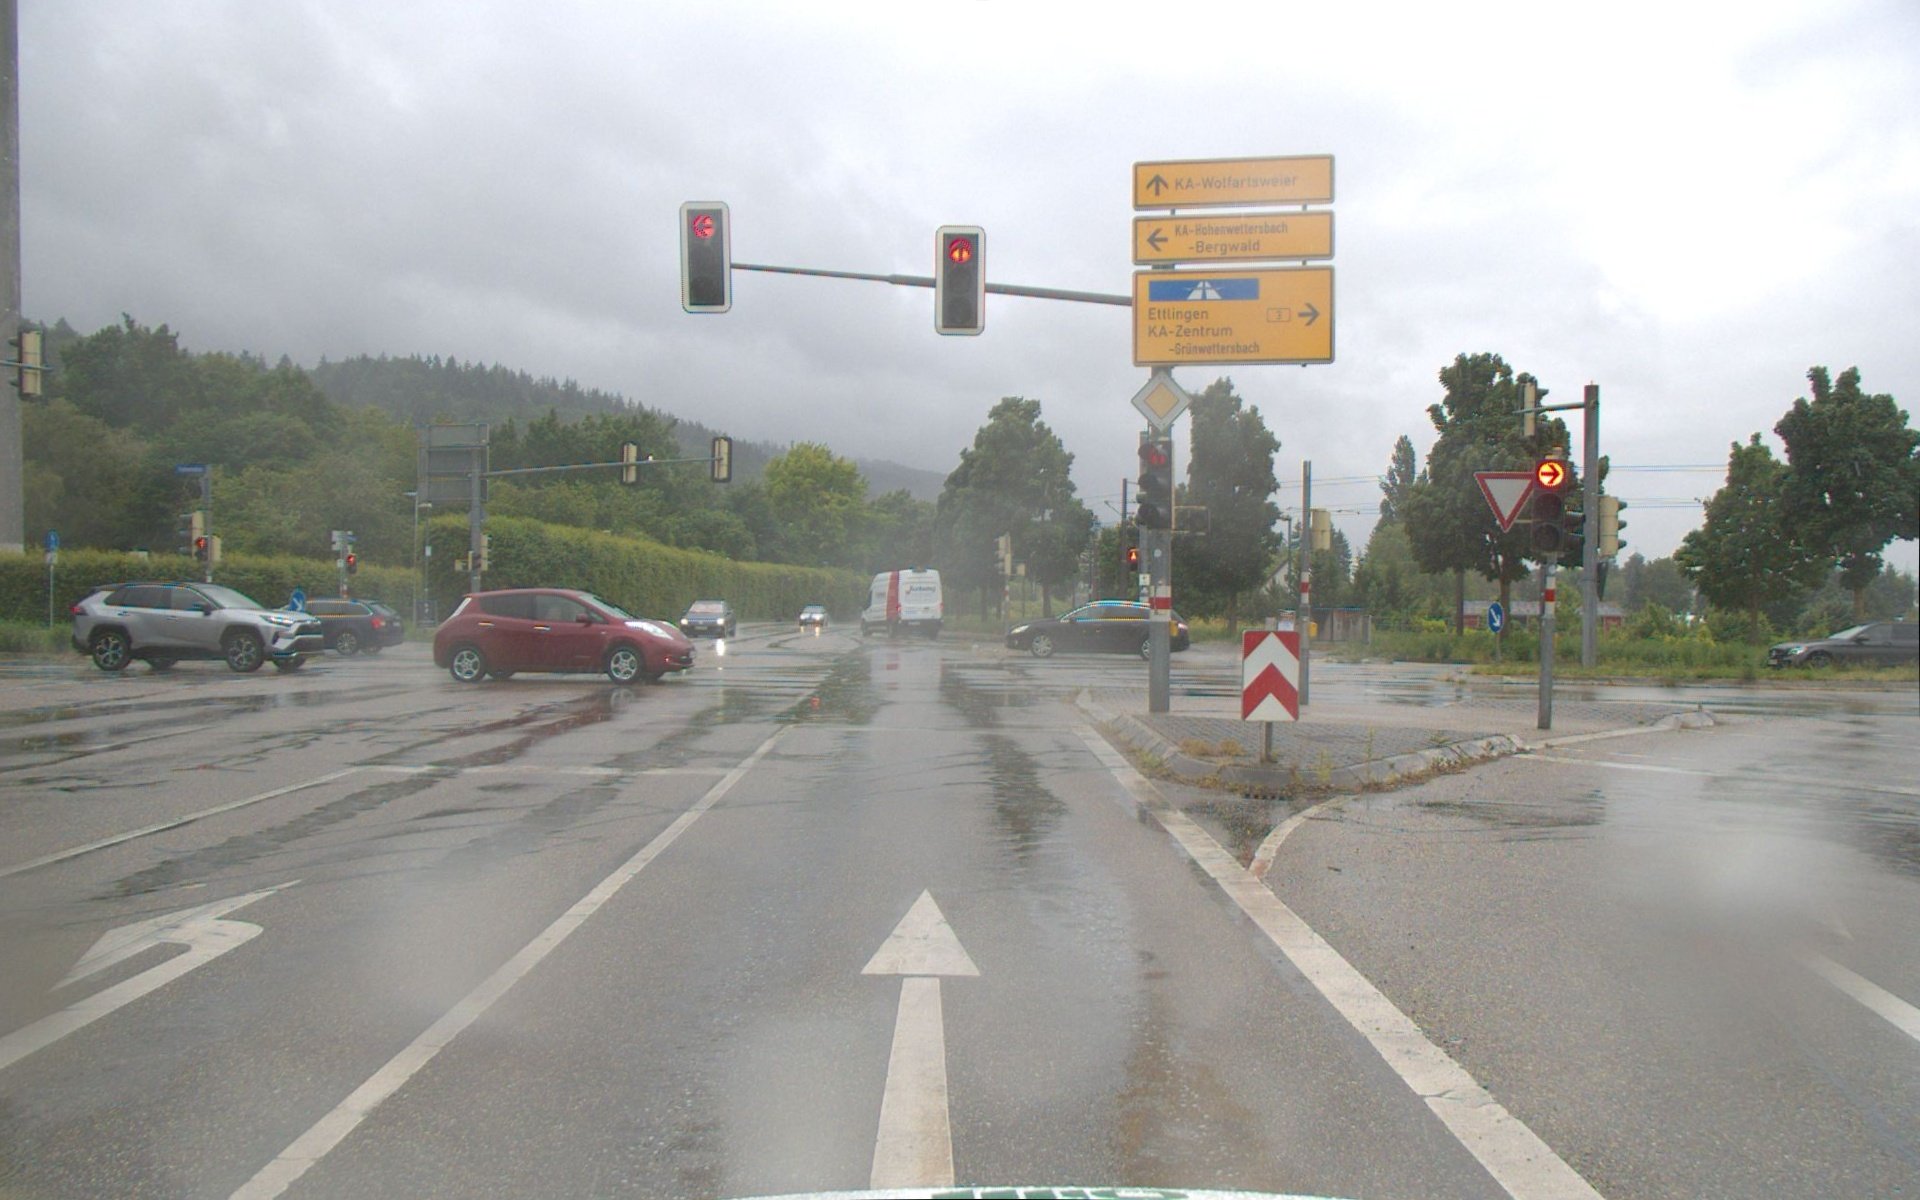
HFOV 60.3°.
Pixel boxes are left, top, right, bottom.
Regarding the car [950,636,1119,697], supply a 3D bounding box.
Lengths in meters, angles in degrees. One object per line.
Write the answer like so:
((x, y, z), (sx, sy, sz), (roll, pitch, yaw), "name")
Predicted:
((2.069, 1.832, 45.981), (4.572, 1.580, 1.823), (0, 0, 2), "car")

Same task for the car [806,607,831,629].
((-9.828, 1.238, 115.161), (1.527, 1.507, 3.360), (1, 0, -2), "car")

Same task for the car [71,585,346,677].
((-14.442, 0.566, 31.916), (4.431, 1.607, 1.914), (2, 0, 6), "car")

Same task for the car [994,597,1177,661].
((3.171, 0.723, 42.310), (4.572, 1.580, 1.823), (0, 0, 2), "car")

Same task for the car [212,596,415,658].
((-16.854, 0.682, 43.266), (4.574, 1.580, 1.822), (0, 0, -1), "car")

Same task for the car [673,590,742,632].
((-10.236, 0.416, 67.335), (1.839, 1.601, 4.646), (-1, 0, 3), "car")

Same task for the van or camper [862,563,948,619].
((-2.297, -0.373, 67.901), (2.122, 2.207, 4.836), (1, 0, -20), "van or camper")

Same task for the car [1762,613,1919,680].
((22.376, 1.124, 40.530), (4.570, 1.580, 1.824), (0, 0, 7), "car")

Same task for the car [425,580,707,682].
((-6.588, 0.500, 27.894), (4.283, 1.607, 1.733), (1, 0, 4), "car")
